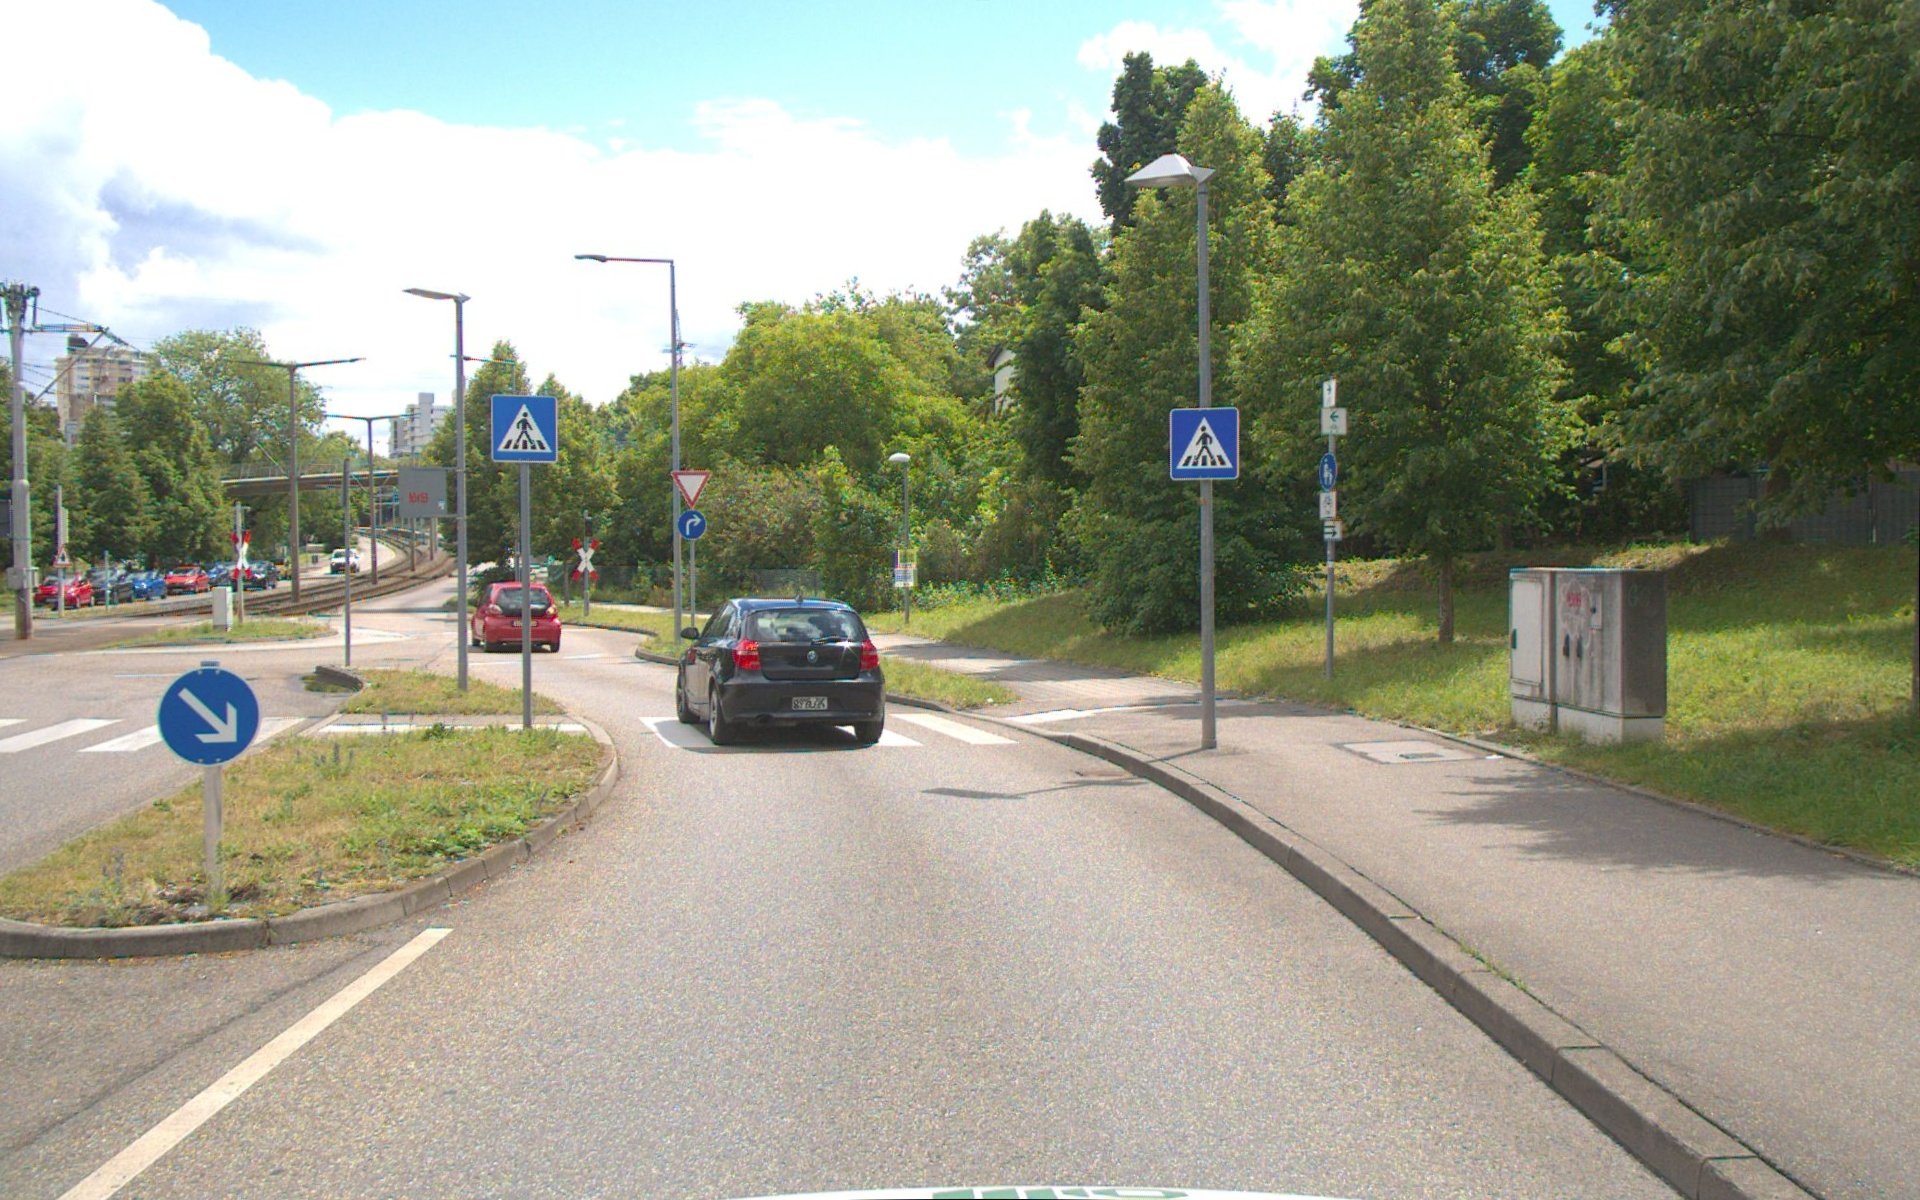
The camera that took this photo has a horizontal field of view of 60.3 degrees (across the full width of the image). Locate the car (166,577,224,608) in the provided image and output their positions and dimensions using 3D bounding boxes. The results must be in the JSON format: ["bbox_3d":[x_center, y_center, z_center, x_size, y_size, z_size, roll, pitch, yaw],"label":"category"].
[{"bbox_3d":[-41.419,-0.430,89.623,1.878,1.588,3.991,-1,1,-10],"label":"car"}]

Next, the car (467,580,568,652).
[{"bbox_3d":[-9.814,0.346,36.537,1.741,1.457,3.455,-2,0,-22],"label":"car"}]

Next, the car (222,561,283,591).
[{"bbox_3d":[-39.363,-1.341,92.112,1.956,1.625,4.412,-1,1,-8],"label":"car"}]

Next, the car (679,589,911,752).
[{"bbox_3d":[-1.859,0.666,17.417,1.785,1.445,3.984,-2,0,-15],"label":"car"}]

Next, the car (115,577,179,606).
[{"bbox_3d":[-39.201,-0.433,79.826,1.773,1.276,3.561,-1,2,-9],"label":"car"}]

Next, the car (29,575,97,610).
[{"bbox_3d":[-37.497,-0.338,69.215,1.502,1.394,3.586,-1,1,-12],"label":"car"}]

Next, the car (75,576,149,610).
[{"bbox_3d":[-38.302,-0.323,74.796,1.844,1.450,3.526,-1,1,-7],"label":"car"}]

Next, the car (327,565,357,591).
[{"bbox_3d":[-48.529,-1.741,129.971,1.962,2.048,3.981,-1,1,-17],"label":"car"}]

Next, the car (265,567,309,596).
[{"bbox_3d":[-47.148,-1.303,115.948,1.957,1.895,3.991,-1,2,-10],"label":"car"}]
